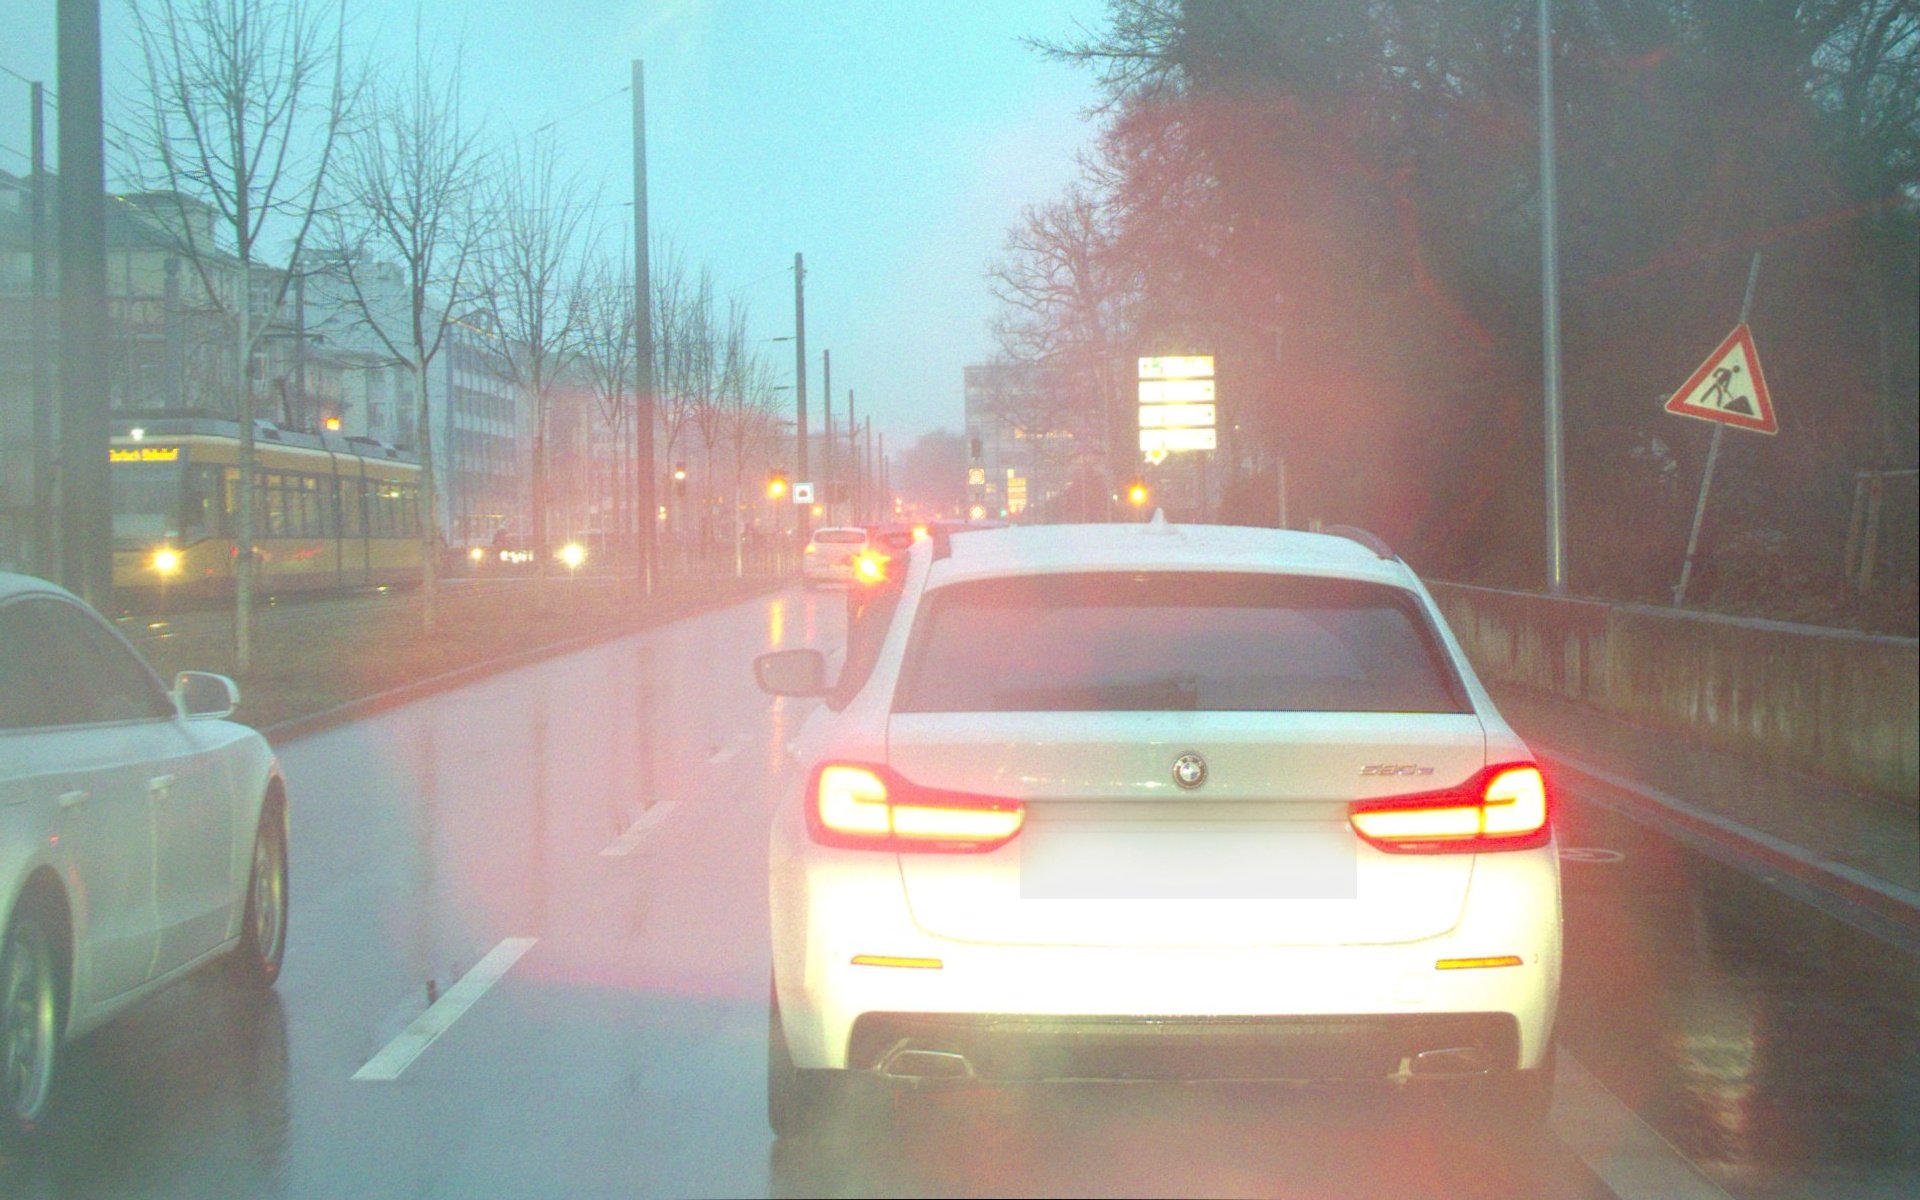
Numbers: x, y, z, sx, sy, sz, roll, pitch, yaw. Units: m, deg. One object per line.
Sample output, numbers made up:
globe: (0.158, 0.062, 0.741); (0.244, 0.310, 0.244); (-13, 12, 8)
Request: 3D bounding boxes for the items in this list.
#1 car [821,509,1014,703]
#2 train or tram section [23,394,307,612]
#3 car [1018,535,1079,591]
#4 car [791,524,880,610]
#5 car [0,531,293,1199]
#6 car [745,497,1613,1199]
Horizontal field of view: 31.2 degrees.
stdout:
car: (-0.450, 0.029, 37.763); (1.993, 2.007, 4.000); (0, 1, 0)
train or tram section: (-13.870, -1.670, 60.815); (2.842, 3.492, 9.159); (-2, 1, 0)
car: (3.274, -1.381, 126.654); (1.994, 2.007, 3.999); (1, 1, 5)
car: (-2.969, -0.822, 82.818); (1.993, 2.007, 4.000); (0, 1, 0)
car: (-3.002, 0.548, 8.966); (1.759, 1.464, 4.252); (0, 1, -1)
car: (0.320, 0.532, 9.140); (1.759, 1.547, 4.252); (0, 1, -4)
